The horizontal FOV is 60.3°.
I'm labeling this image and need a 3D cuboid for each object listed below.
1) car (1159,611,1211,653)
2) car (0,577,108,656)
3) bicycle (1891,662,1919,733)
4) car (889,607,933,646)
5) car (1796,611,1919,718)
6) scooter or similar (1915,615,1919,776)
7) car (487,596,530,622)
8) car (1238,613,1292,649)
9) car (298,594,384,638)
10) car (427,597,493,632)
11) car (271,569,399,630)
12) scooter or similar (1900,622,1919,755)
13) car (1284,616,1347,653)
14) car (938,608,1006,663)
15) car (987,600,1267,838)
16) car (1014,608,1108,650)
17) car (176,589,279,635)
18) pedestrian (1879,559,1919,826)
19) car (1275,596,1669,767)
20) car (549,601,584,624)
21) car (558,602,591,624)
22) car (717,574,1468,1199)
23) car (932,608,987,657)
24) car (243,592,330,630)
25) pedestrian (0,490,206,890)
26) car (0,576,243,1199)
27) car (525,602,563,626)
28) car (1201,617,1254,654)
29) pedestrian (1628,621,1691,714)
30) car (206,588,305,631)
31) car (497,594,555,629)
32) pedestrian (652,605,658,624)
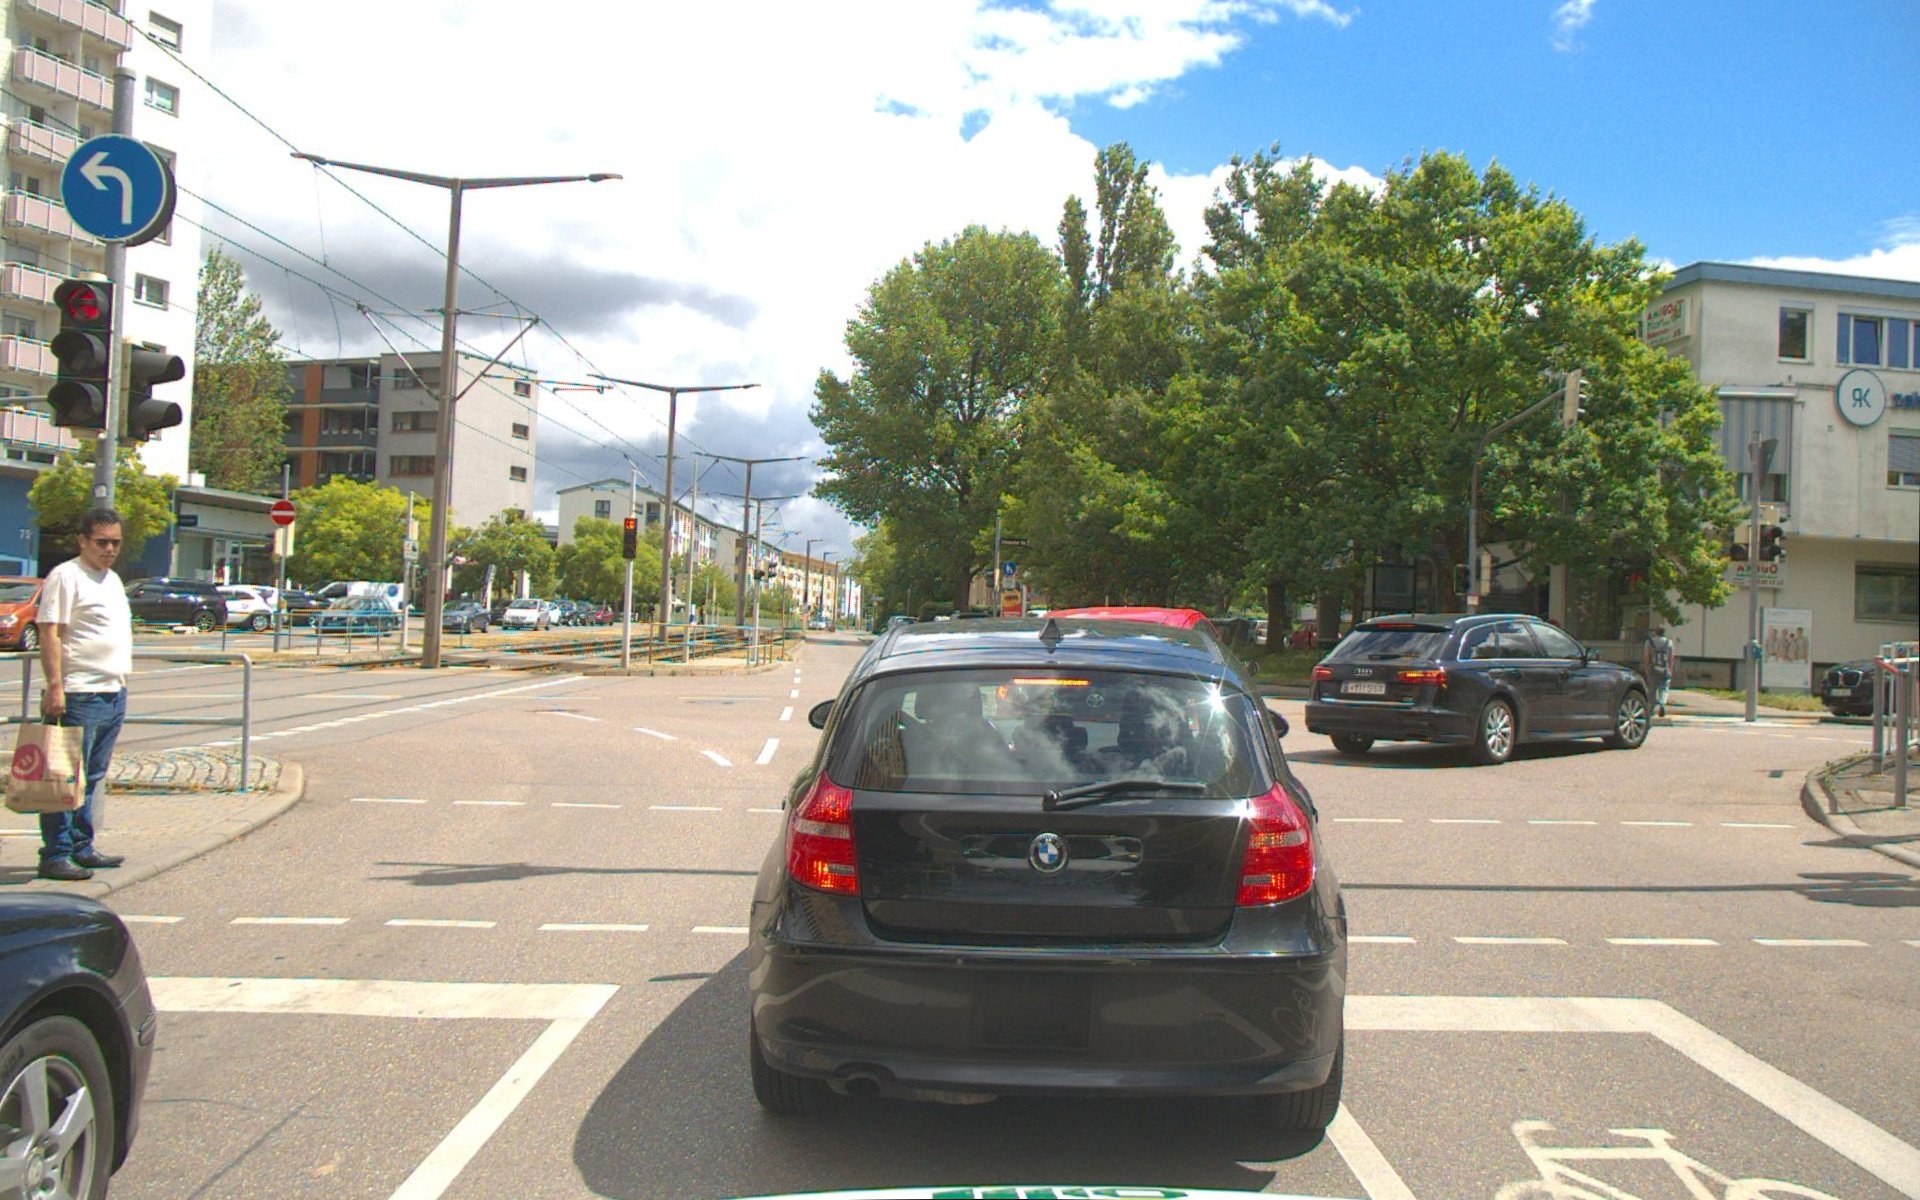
[{"bbox_3d":[10.411,1.481,76.829,1.598,1.842,4.029,1,0,-4],"label":"car"},{"bbox_3d":[-20.983,0.343,36.886,1.955,1.663,4.456,0,0,-5],"label":"car"},{"bbox_3d":[11.936,1.189,19.507,0.776,0.833,1.806,2,0,-4],"label":"bicycle"},{"bbox_3d":[-2.255,1.215,76.970,1.953,1.713,3.999,1,0,-1],"label":"car"},{"bbox_3d":[17.141,1.112,28.571,4.472,1.747,1.997,1,0,-8],"label":"car"},{"bbox_3d":[8.396,0.791,13.121,1.315,1.299,0.462,1,1,6],"label":"scooter or similar"},{"bbox_3d":[-25.384,0.499,93.119,1.728,1.419,3.994,1,0,-7],"label":"car"},{"bbox_3d":[14.544,1.454,79.129,1.598,1.623,3.997,1,0,-4],"label":"car"},{"bbox_3d":[-21.807,0.529,58.454,1.596,1.438,4.252,1,1,-3],"label":"car"},{"bbox_3d":[-21.266,0.615,70.538,1.602,1.424,4.491,2,-1,-3],"label":"car"},{"bbox_3d":[-27.092,-0.044,71.552,2.810,2.522,6.614,1,0,-44],"label":"car"},{"bbox_3d":[9.205,0.821,14.940,1.338,1.176,0.539,3,0,-26],"label":"scooter or similar"},{"bbox_3d":[17.068,1.646,79.604,1.698,1.623,3.993,1,0,-8],"label":"car"},{"bbox_3d":[0.370,1.153,54.204,2.108,1.713,3.999,1,-1,-1],"label":"car"},{"bbox_3d":[1.345,0.757,12.199,1.509,1.466,3.198,1,0,15],"label":"car"},{"bbox_3d":[4.638,1.334,75.773,3.933,1.855,1.766,1,0,-23],"label":"car"},{"bbox_3d":[-26.633,0.424,60.067,4.144,1.597,1.949,1,0,43],"label":"car"},{"bbox_3d":[6.682,0.595,10.858,0.932,1.703,0.871,0,0,14],"label":"pedestrian"},{"bbox_3d":[5.523,0.787,17.545,4.481,1.581,1.970,1,-1,-41],"label":"car"},{"bbox_3d":[-25.458,0.775,107.194,1.728,1.419,3.994,1,0,-7],"label":"car"},{"bbox_3d":[-26.003,0.889,111.751,1.728,1.419,3.994,1,0,-7],"label":"car"},{"bbox_3d":[0.290,0.709,5.846,1.717,1.513,3.999,1,0,-1],"label":"car"},{"bbox_3d":[-0.044,1.210,61.646,1.953,1.713,3.999,1,-1,-1],"label":"car"},{"bbox_3d":[-27.119,0.427,66.555,1.777,1.445,4.148,1,0,-45],"label":"car"},{"bbox_3d":[-4.255,0.416,8.014,0.851,1.839,0.741,1,0,-5],"label":"pedestrian"},{"bbox_3d":[-2.573,0.681,1.706,1.693,1.487,4.543,1,0,-1],"label":"car"},{"bbox_3d":[-25.303,0.838,100.614,1.728,1.419,3.994,1,0,-7],"label":"car"},{"bbox_3d":[12.572,1.660,77.823,1.598,1.600,4.029,1,0,-4],"label":"car"},{"bbox_3d":[13.046,1.246,30.872,0.753,1.672,0.907,2,0,-1],"label":"pedestrian"},{"bbox_3d":[-27.007,0.363,63.377,4.144,1.564,1.949,1,0,43],"label":"car"},{"bbox_3d":[-21.857,0.569,83.386,1.898,1.722,3.872,1,0,-1],"label":"car"},{"bbox_3d":[-26.379,1.255,142.898,0.444,1.665,0.480,1,0,-6],"label":"pedestrian"}]
